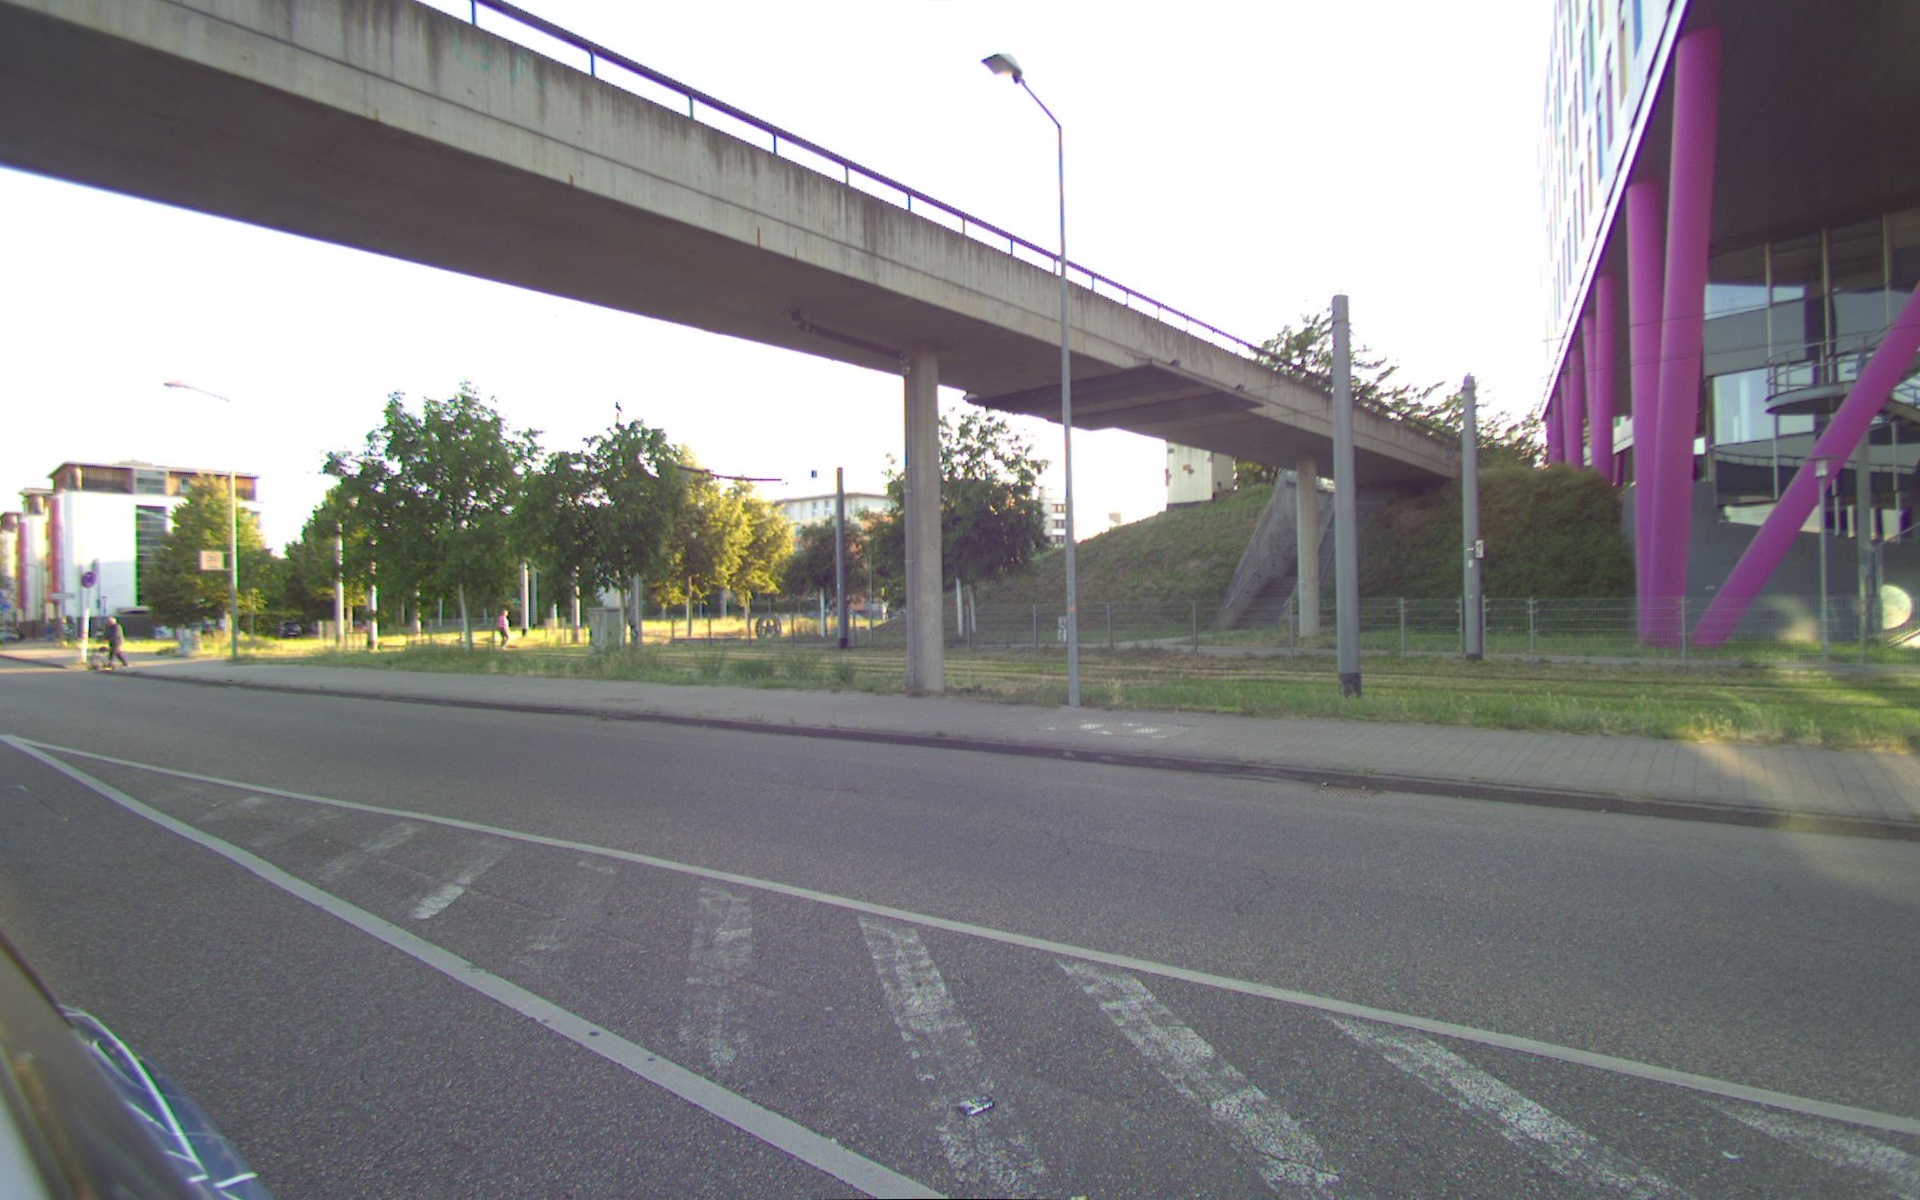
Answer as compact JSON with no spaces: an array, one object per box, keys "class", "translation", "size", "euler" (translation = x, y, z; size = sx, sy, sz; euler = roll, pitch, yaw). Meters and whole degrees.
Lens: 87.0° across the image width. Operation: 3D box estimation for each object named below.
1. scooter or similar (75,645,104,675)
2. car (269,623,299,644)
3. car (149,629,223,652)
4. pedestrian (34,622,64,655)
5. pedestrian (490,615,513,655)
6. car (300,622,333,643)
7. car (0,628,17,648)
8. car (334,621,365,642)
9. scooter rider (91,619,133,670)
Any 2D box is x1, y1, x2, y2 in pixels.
[{"class":"scooter or similar","translation":[-27.406,1.892,31.862],"size":[0.721,0.902,0.546],"euler":[0,-1,37]},{"class":"car","translation":[-57.132,2.806,85.521],"size":[1.842,1.734,3.853],"euler":[-1,-1,-38]},{"class":"car","translation":[-57.591,3.014,75.363],"size":[1.984,1.575,3.976],"euler":[-1,-1,18]},{"class":"pedestrian","translation":[-57.893,2.463,64.313],"size":[1.072,2.029,1.143],"euler":[-1,0,-21]},{"class":"pedestrian","translation":[-18.900,1.433,41.737],"size":[0.767,1.623,0.417],"euler":[-1,-1,-38]},{"class":"car","translation":[-55.380,2.777,87.057],"size":[1.843,1.734,3.851],"euler":[-1,-1,-40]},{"class":"car","translation":[-80.768,3.164,83.409],"size":[1.839,1.571,4.330],"euler":[-1,0,42]},{"class":"car","translation":[-53.580,2.753,88.781],"size":[1.842,1.734,3.853],"euler":[-1,-1,-38]},{"class":"scooter rider","translation":[-27.083,1.423,32.332],"size":[0.710,1.589,0.887],"euler":[-2,-1,36]}]
